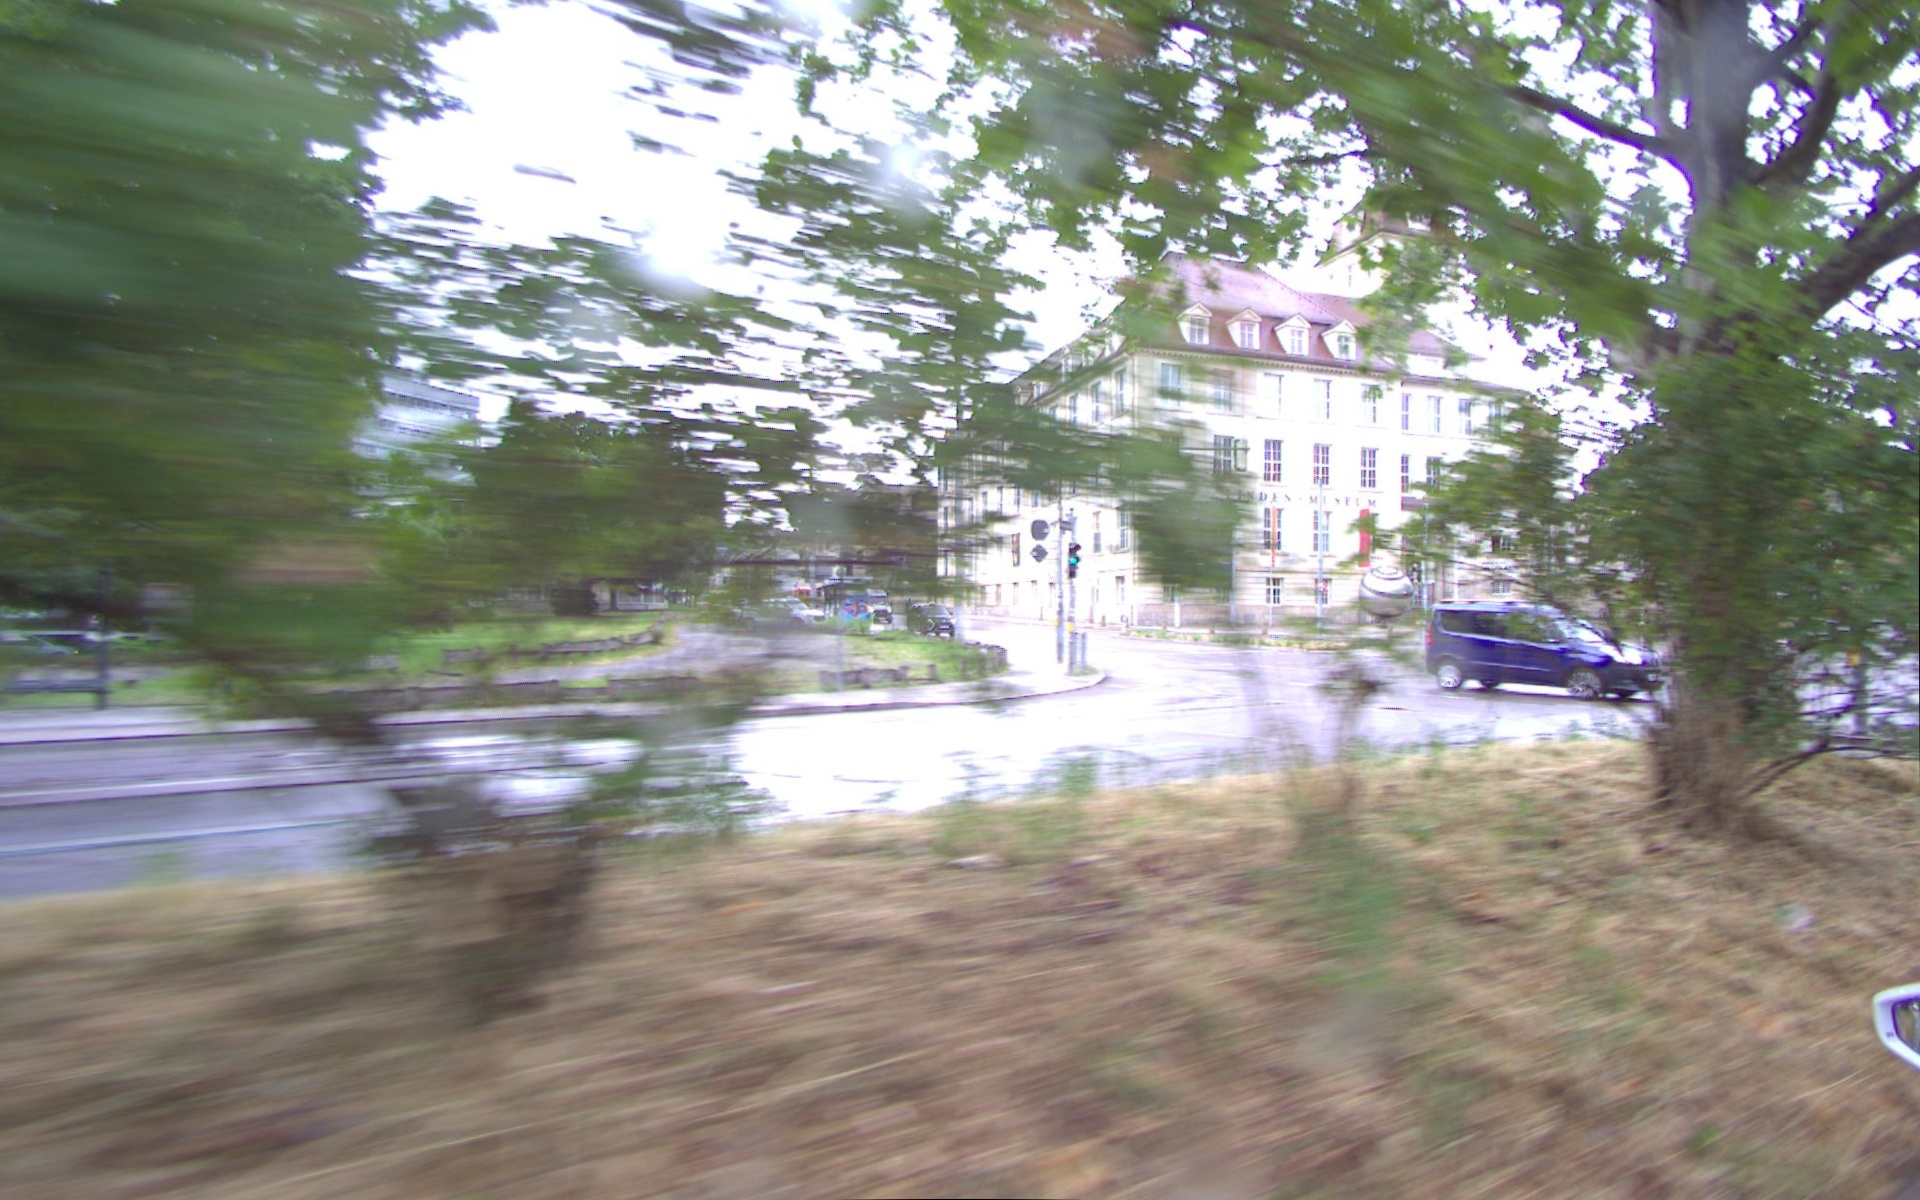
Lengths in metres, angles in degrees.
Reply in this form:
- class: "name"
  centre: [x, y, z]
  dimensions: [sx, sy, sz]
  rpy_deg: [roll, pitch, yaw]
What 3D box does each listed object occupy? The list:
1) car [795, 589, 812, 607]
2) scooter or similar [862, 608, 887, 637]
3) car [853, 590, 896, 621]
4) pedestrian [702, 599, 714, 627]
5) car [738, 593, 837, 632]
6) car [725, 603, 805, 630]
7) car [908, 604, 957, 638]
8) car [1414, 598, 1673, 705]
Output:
- class: "car"
  centre: [-24.438, -0.290, 156.675]
  dimensions: [1.967, 2.652, 3.986]
  rpy_deg: [2, 0, -16]
- class: "scooter or similar"
  centre: [-3.600, 0.957, 42.463]
  dimensions: [0.541, 1.182, 1.253]
  rpy_deg: [2, 0, 20]
- class: "car"
  centre: [-6.783, 0.396, 79.139]
  dimensions: [1.969, 2.344, 5.903]
  rpy_deg: [2, 0, -18]
- class: "pedestrian"
  centre: [-14.570, 0.756, 58.088]
  dimensions: [0.557, 1.548, 0.669]
  rpy_deg: [2, 0, -7]
- class: "car"
  centre: [-8.311, 0.597, 48.402]
  dimensions: [4.420, 1.791, 1.833]
  rpy_deg: [0, -1, 24]
- class: "car"
  centre: [-10.834, 0.899, 55.837]
  dimensions: [3.993, 1.461, 1.855]
  rpy_deg: [0, -1, 16]
- class: "car"
  centre: [-1.527, 1.096, 53.350]
  dimensions: [1.767, 1.728, 4.677]
  rpy_deg: [0, 0, -13]
- class: "car"
  centre: [11.707, 0.938, 20.448]
  dimensions: [1.777, 1.933, 4.273]
  rpy_deg: [0, 0, -31]
